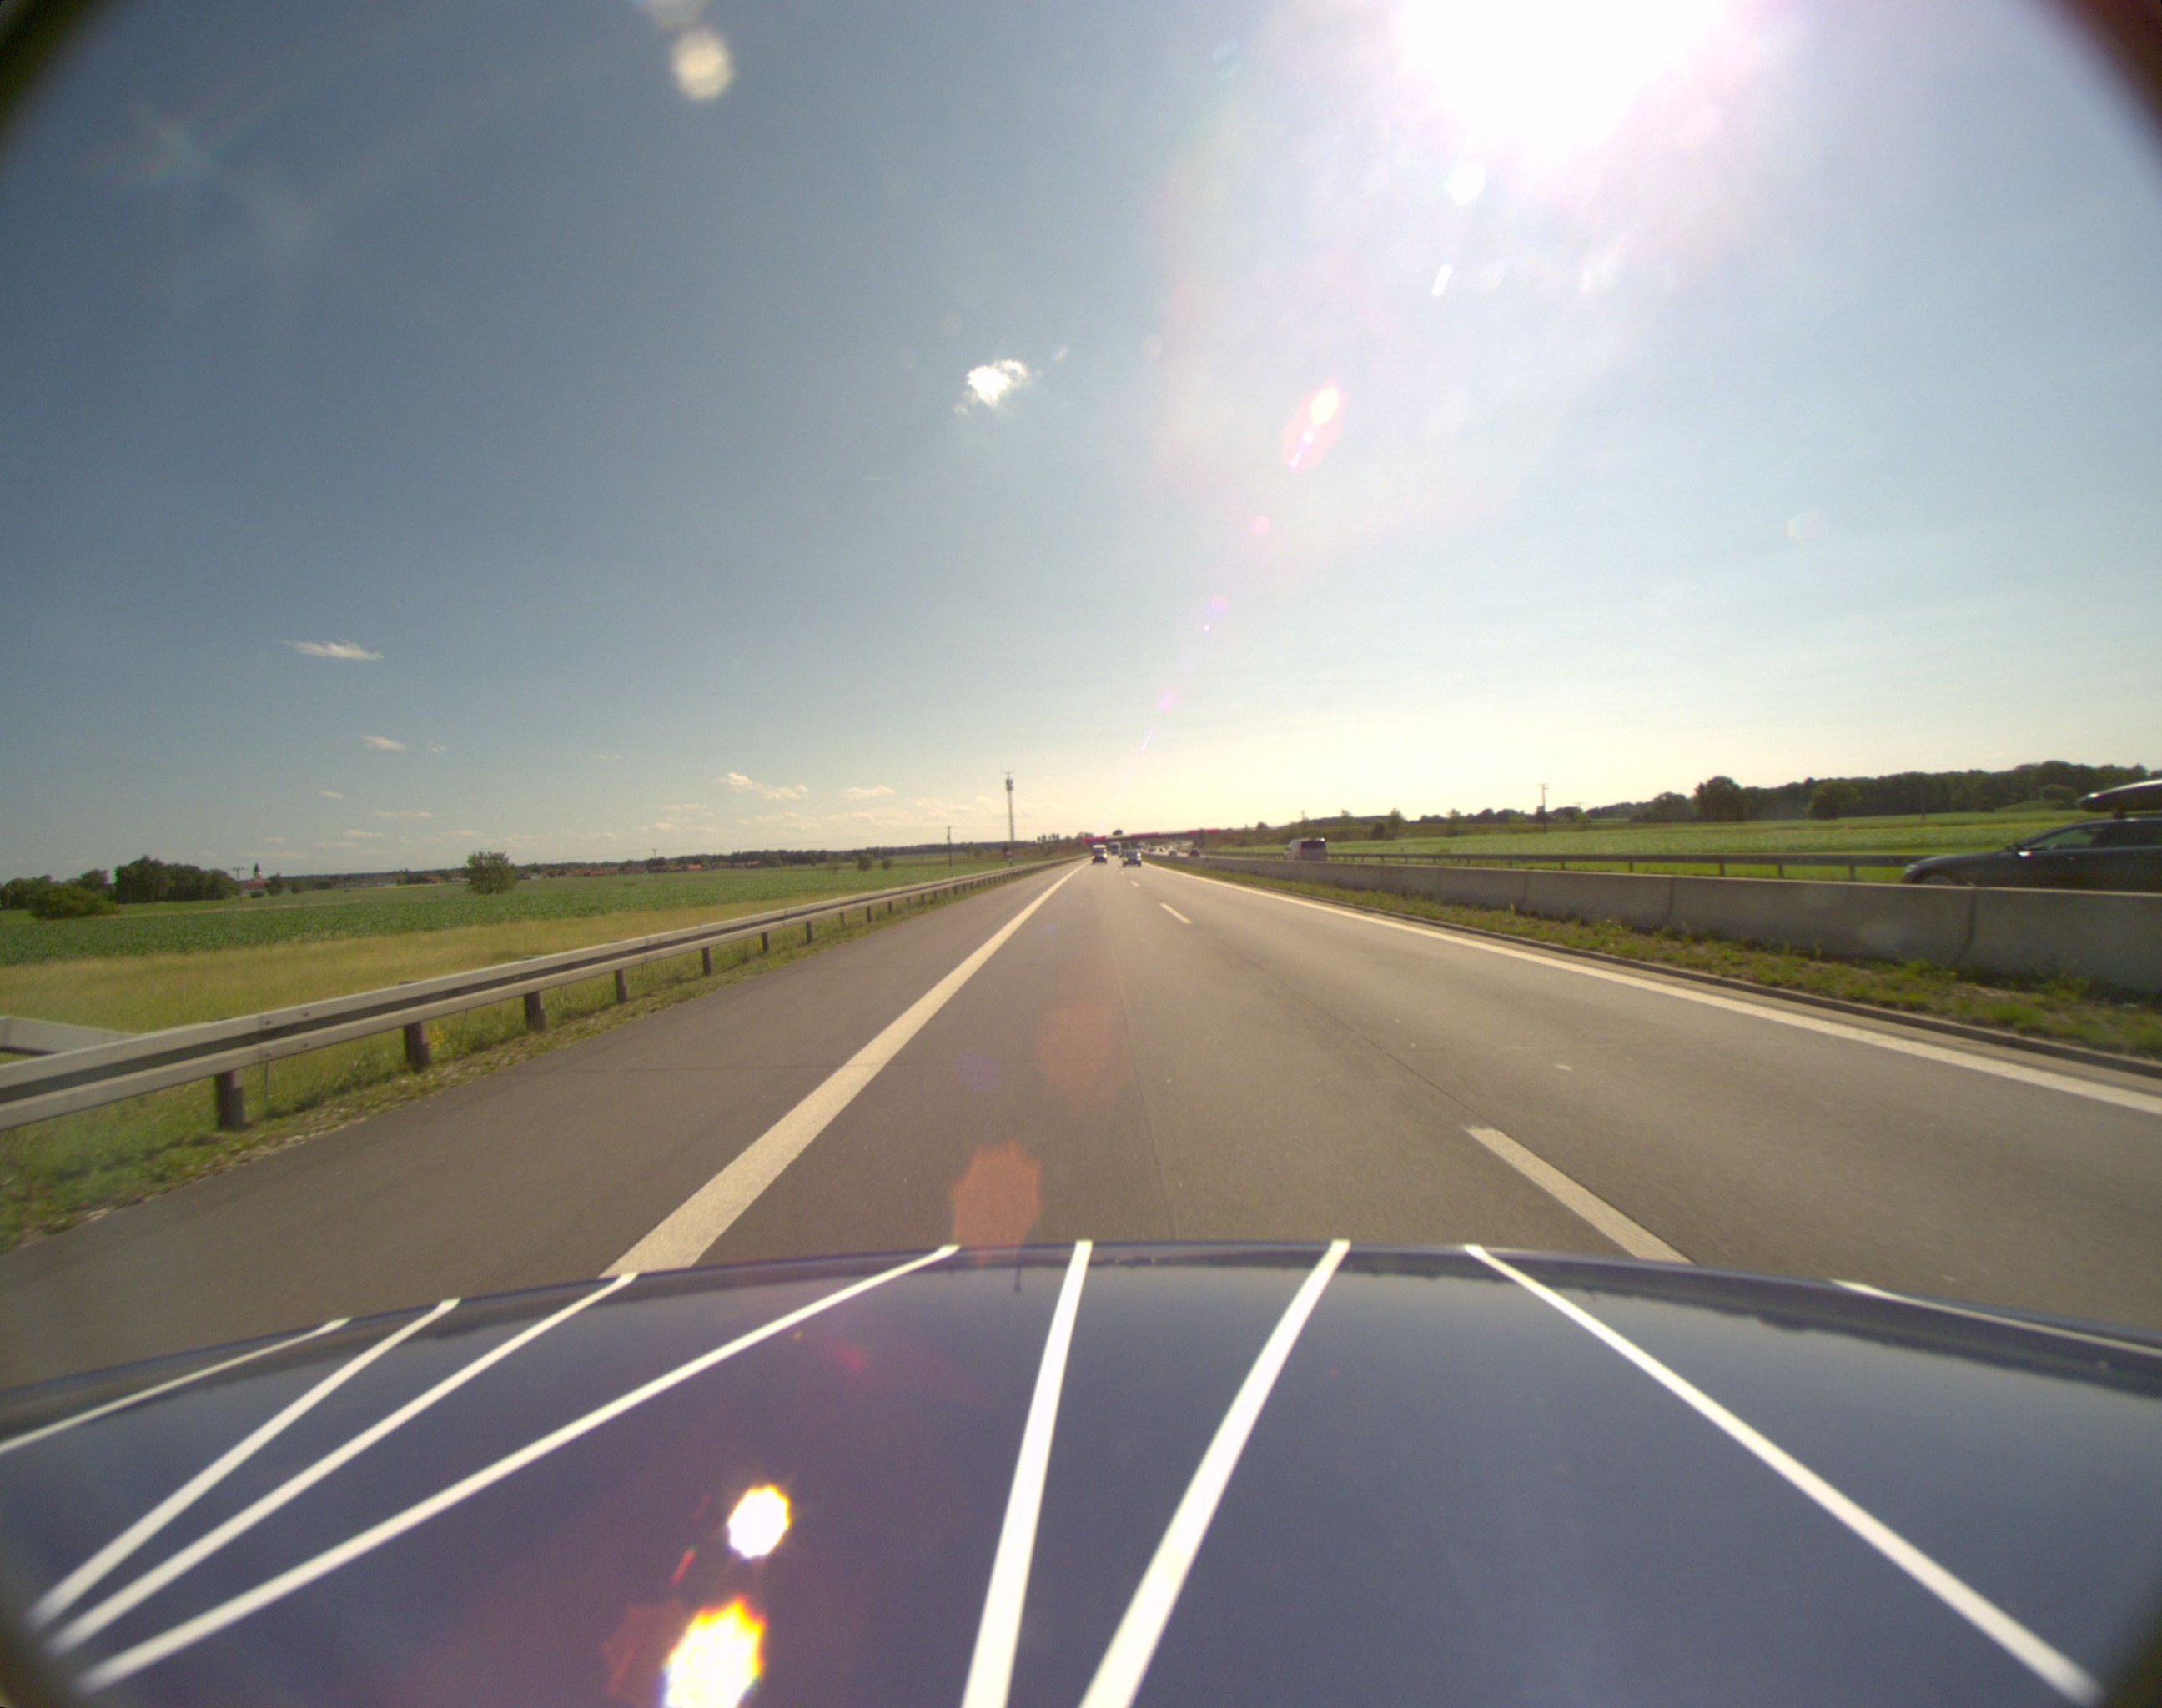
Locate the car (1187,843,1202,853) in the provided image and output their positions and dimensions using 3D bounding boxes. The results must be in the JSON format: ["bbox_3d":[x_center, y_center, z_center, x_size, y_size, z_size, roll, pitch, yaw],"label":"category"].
[{"bbox_3d":[18.963,-1.000,127.111,1.863,1.575,4.914,-1,0,1],"label":"car"}]

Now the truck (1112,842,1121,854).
[{"bbox_3d":[11.477,-2.006,243.892,2.762,3.793,7.517,-3,1,3],"label":"truck"}]

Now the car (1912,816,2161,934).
[{"bbox_3d":[14.821,0.247,10.283,1.902,1.514,4.805,-1,0,0],"label":"car"}]

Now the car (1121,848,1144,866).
[{"bbox_3d":[5.121,0.253,76.282,2.030,1.600,4.817,-3,1,1],"label":"car"}]

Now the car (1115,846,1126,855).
[{"bbox_3d":[7.997,-0.654,153.760,2.030,1.600,4.819,-4,-1,2],"label":"car"}]

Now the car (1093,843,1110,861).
[{"bbox_3d":[2.593,-0.263,97.899,2.030,2.225,4.818,-2,1,2],"label":"car"}]

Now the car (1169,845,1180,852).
[{"bbox_3d":[20.786,-1.209,169.209,1.827,1.357,5.295,-1,0,2],"label":"car"}]

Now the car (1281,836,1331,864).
[{"bbox_3d":[15.774,-0.267,53.583,1.959,1.831,5.449,-1,0,0],"label":"car"}]
